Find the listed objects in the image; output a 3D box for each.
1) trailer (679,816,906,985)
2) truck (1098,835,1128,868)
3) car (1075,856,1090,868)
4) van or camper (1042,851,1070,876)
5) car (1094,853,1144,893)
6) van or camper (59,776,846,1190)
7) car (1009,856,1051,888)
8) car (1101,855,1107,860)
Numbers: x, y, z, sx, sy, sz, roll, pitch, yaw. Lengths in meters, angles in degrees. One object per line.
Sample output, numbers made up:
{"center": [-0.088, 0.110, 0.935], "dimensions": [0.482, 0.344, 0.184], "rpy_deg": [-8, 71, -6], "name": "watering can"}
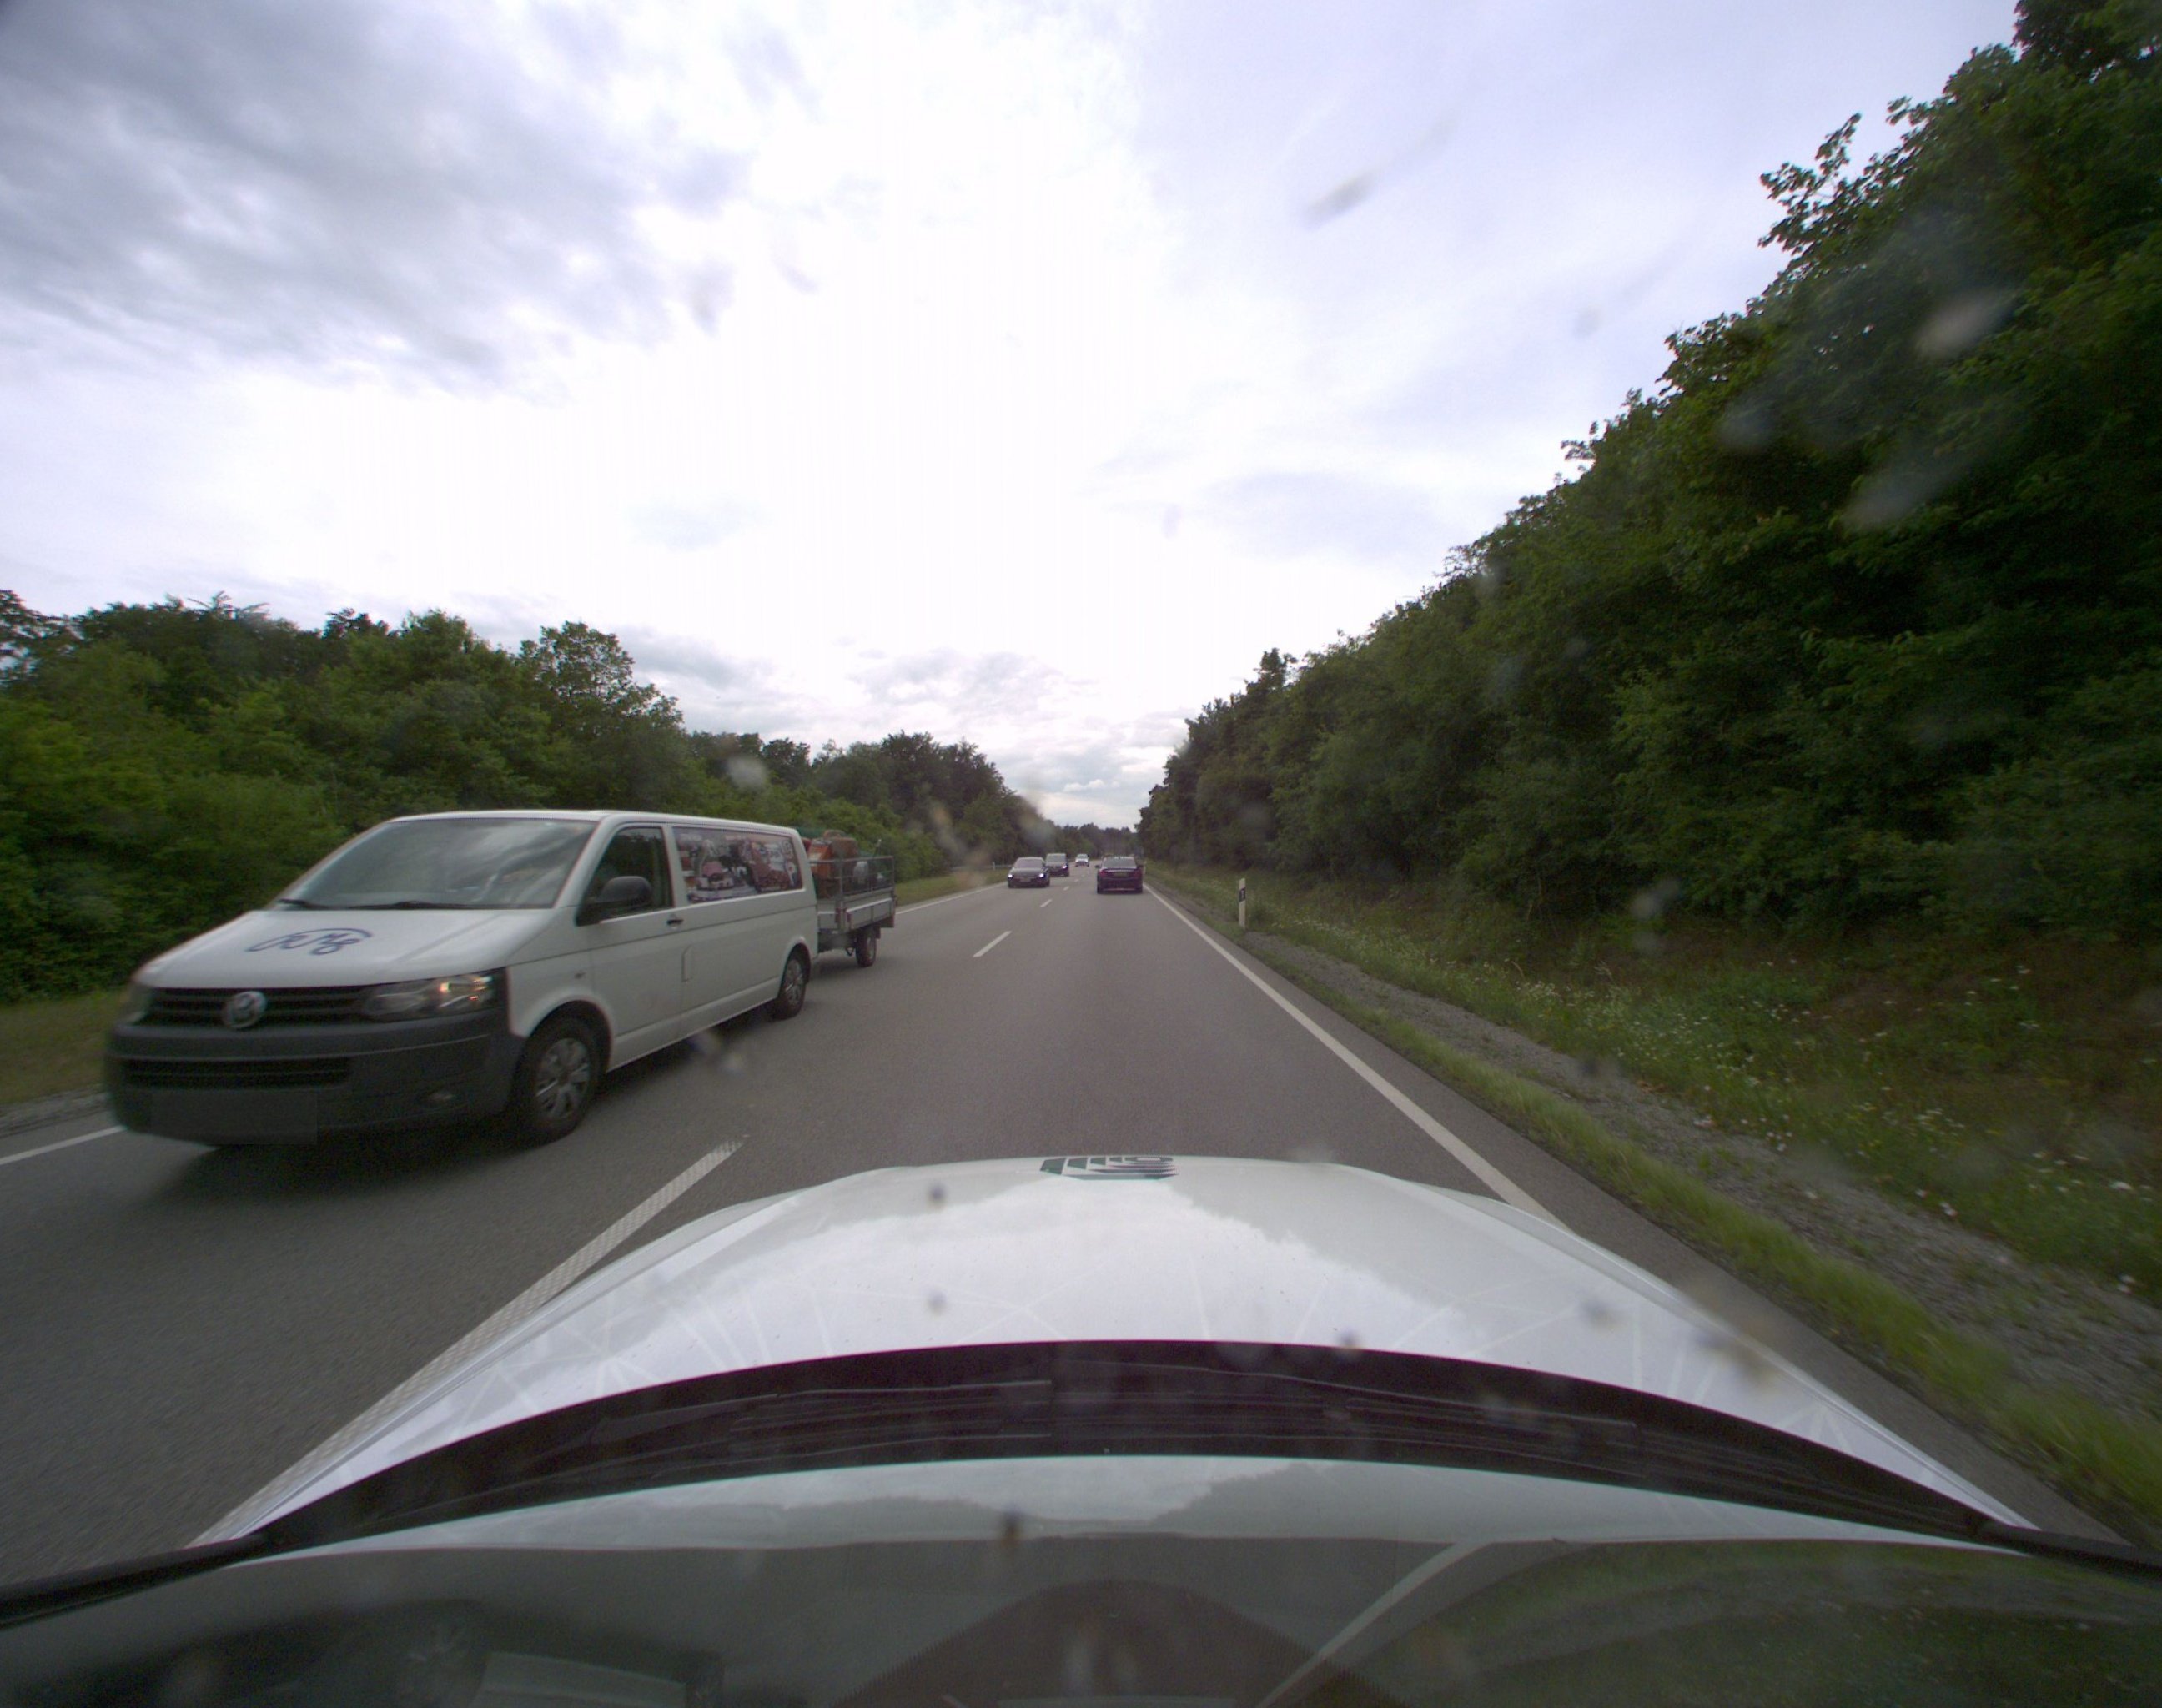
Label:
{"center": [-3.659, 0.533, 11.067], "dimensions": [1.616, 1.892, 3.785], "rpy_deg": [0, 0, 2], "name": "trailer"}
{"center": [3.726, -0.244, 93.467], "dimensions": [3.267, 3.611, 11.407], "rpy_deg": [-1, 0, 3], "name": "truck"}
{"center": [0.184, 1.133, 112.108], "dimensions": [1.868, 1.559, 3.756], "rpy_deg": [0, 0, 2], "name": "car"}
{"center": [-1.833, 0.677, 61.053], "dimensions": [1.988, 1.783, 4.419], "rpy_deg": [0, 0, -1], "name": "van or camper"}
{"center": [1.502, 0.737, 33.333], "dimensions": [1.786, 1.552, 3.998], "rpy_deg": [0, 0, -1], "name": "car"}
{"center": [-3.676, 0.606, 6.433], "dimensions": [1.914, 1.892, 5.364], "rpy_deg": [0, 0, 2], "name": "van or camper"}
{"center": [-2.502, 0.855, 40.860], "dimensions": [1.682, 1.479, 4.458], "rpy_deg": [0, 0, 2], "name": "car"}
{"center": [6.740, 1.003, 238.506], "dimensions": [1.802, 1.442, 4.448], "rpy_deg": [0, 0, 1], "name": "car"}
